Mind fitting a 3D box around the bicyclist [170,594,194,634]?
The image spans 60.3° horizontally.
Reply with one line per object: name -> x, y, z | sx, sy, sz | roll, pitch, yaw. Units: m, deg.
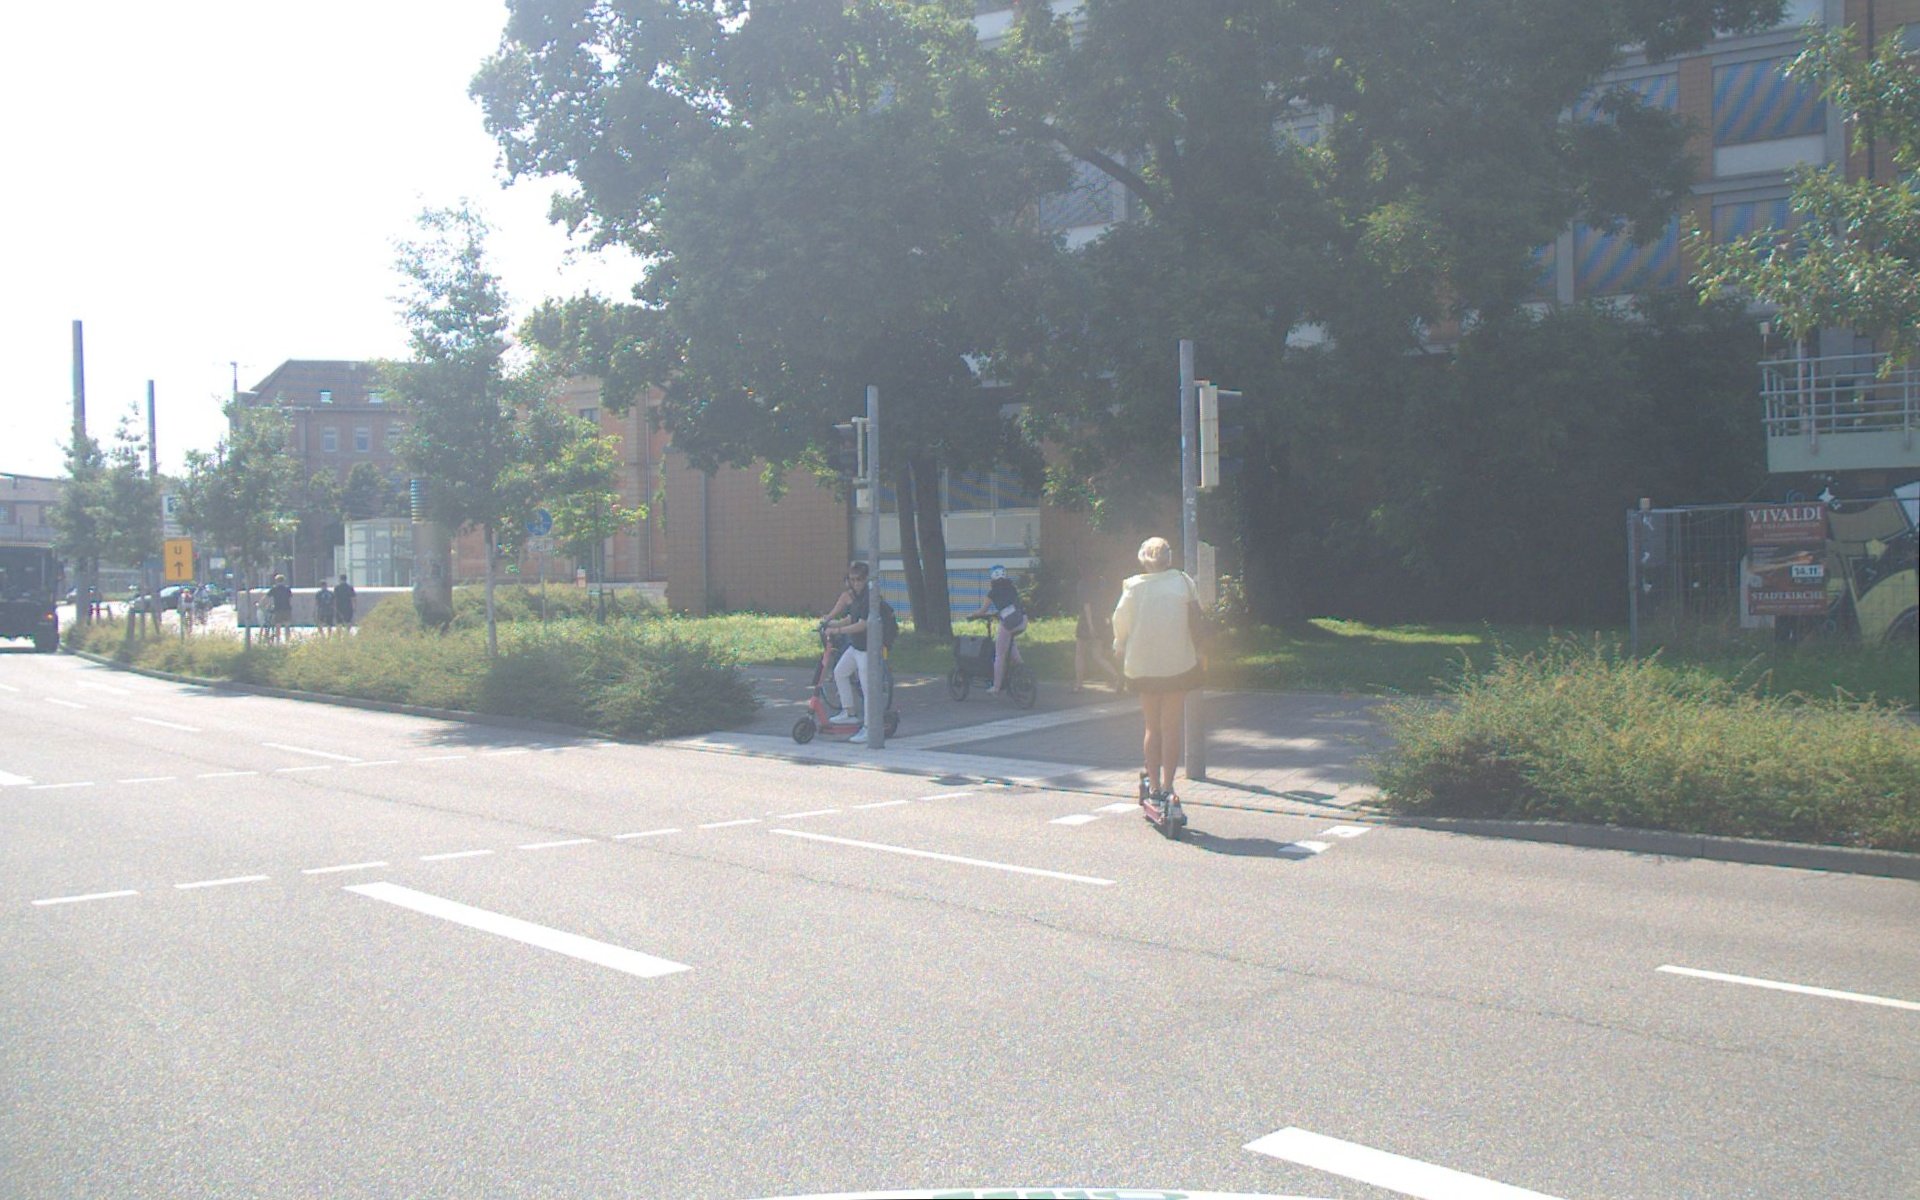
bicyclist -> -26.745, 0.486, 56.878 | 0.667, 1.343, 0.677 | -2, 1, -30

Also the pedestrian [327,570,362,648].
pedestrian -> -16.093, 0.222, 43.243 | 0.766, 2.007, 0.750 | -1, 1, -18

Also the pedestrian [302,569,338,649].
pedestrian -> -16.376, 0.232, 42.329 | 0.766, 2.007, 0.750 | -1, 1, -18

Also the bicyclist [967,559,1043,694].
bicyclist -> 0.523, 0.300, 19.484 | 0.542, 1.522, 0.797 | -3, 2, -26

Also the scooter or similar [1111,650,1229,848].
scooter or similar -> 1.359, 0.927, 10.972 | 0.545, 1.078, 2.004 | -1, 1, 1

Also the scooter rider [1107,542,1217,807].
scooter rider -> 1.347, 0.484, 11.081 | 0.656, 1.729, 0.539 | -1, 1, 1

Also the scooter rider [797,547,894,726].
scooter rider -> -1.186, 0.354, 17.018 | 0.791, 1.769, 0.685 | -2, 1, -20

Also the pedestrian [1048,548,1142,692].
pedestrian -> 1.687, 0.238, 20.617 | 0.702, 1.734, 0.865 | -4, 2, -44

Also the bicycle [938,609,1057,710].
bicycle -> 0.418, 0.679, 19.770 | 0.549, 1.078, 1.988 | -4, 2, -25

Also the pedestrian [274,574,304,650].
pedestrian -> -17.071, 0.303, 42.111 | 0.650, 1.892, 0.788 | -1, 0, -21

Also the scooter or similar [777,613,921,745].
scooter or similar -> -1.149, 0.793, 17.093 | 1.344, 1.256, 0.582 | -2, 1, -21

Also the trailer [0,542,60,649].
trailer -> -28.690, -0.142, 49.938 | 2.438, 3.060, 6.259 | 0, 0, -31

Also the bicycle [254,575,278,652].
bicycle -> -17.485, 0.323, 41.667 | 0.449, 1.892, 1.355 | -1, 1, -20

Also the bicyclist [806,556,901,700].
bicyclist -> -1.262, 0.317, 19.551 | 0.687, 1.626, 0.830 | -5, 3, -43

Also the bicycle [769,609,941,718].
bicycle -> -1.273, 0.721, 19.593 | 0.690, 1.175, 2.334 | -4, 2, -42

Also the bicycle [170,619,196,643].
bicycle -> -26.805, 1.056, 57.015 | 0.667, 0.790, 2.107 | -2, 1, -29
